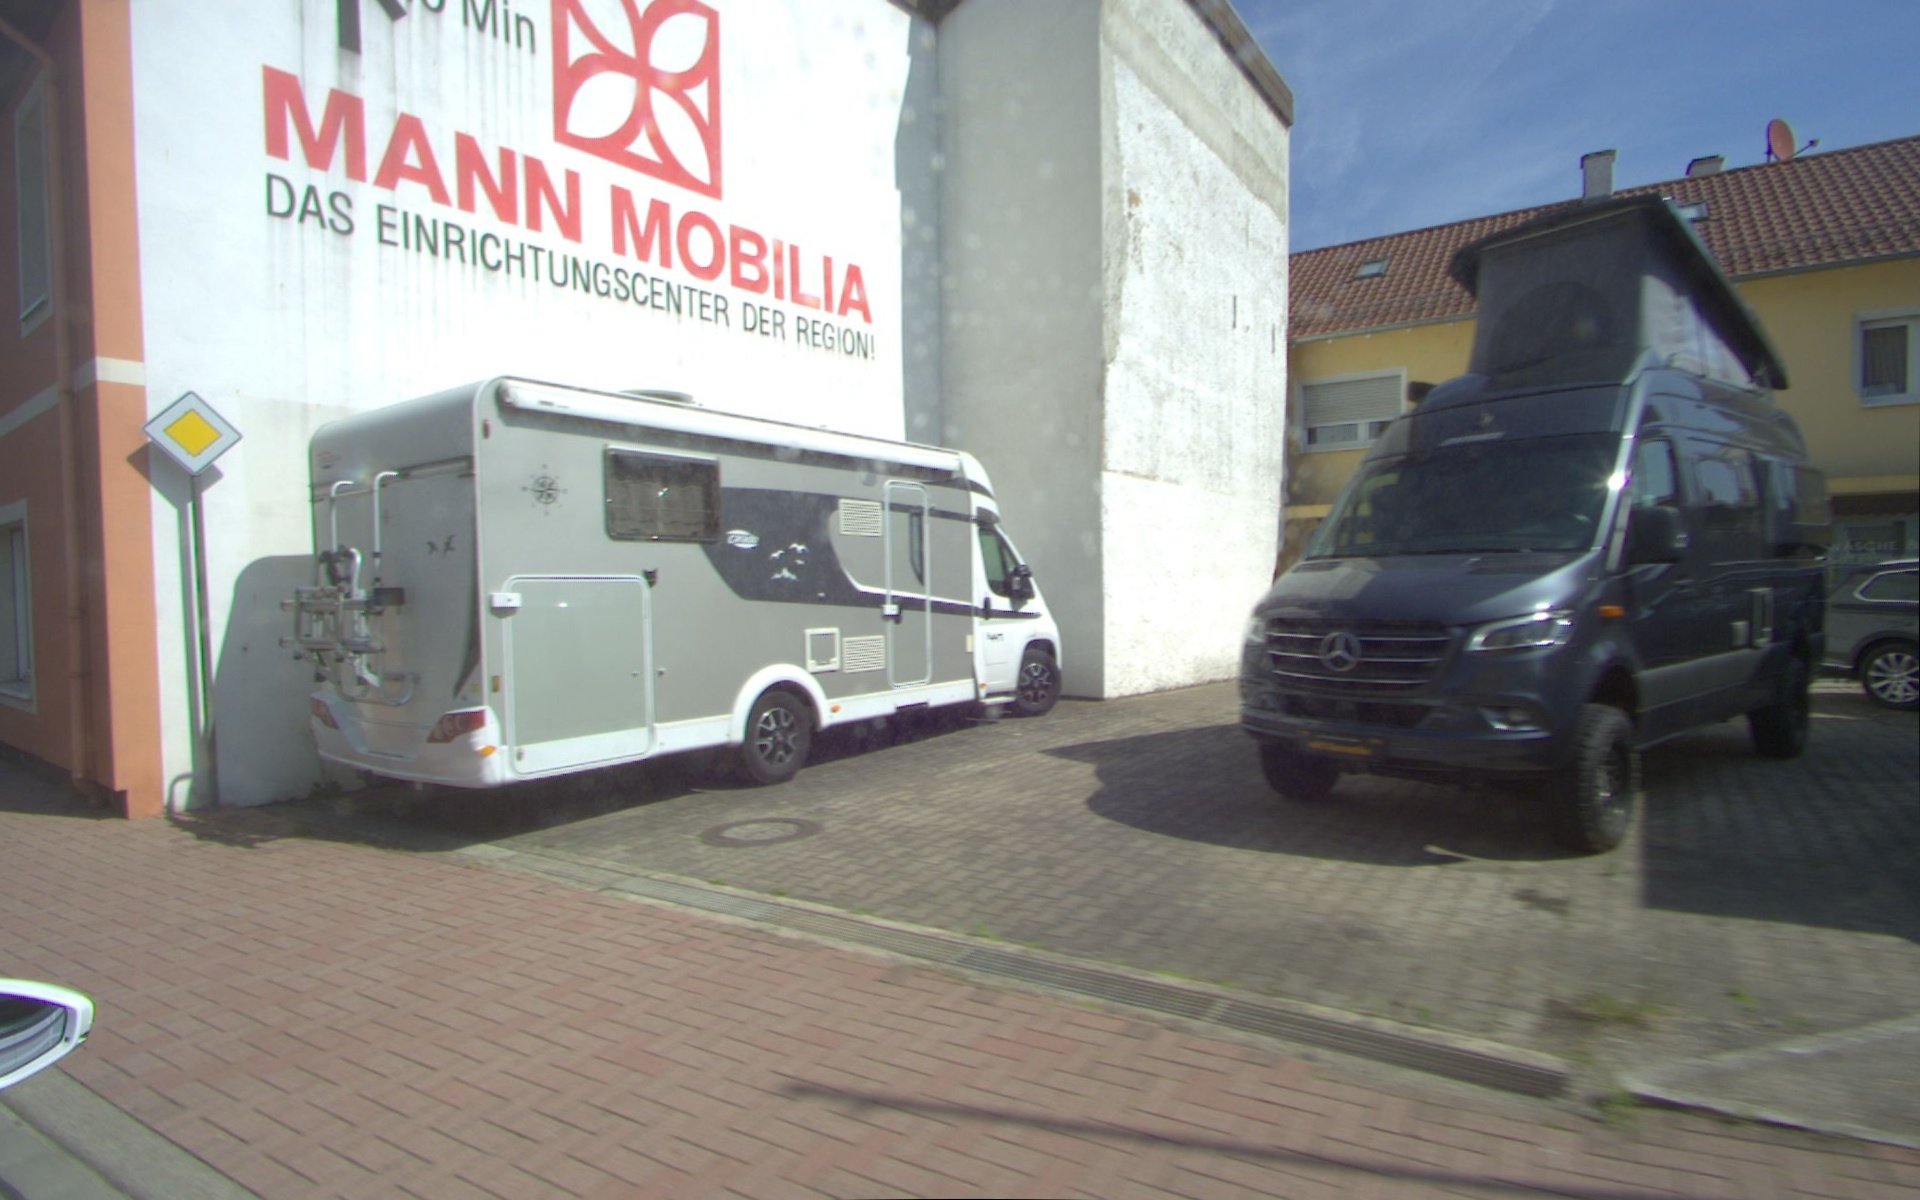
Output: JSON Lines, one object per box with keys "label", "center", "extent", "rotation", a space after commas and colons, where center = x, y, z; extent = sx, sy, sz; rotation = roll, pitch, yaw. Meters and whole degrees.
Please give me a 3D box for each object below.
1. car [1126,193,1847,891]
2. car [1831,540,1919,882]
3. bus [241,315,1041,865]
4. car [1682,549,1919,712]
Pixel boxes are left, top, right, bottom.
{"label": "car", "center": [4.051, -0.294, 7.085], "extent": [5.907, 3.027, 2.299], "rotation": [-2, 1, -38]}
{"label": "car", "center": [5.043, 0.493, 4.174], "extent": [1.560, 1.549, 3.790], "rotation": [0, 1, 32]}
{"label": "bus", "center": [-1.947, -0.099, 8.685], "extent": [2.200, 2.944, 6.543], "rotation": [-1, 1, 35]}
{"label": "car", "center": [9.836, 0.301, 10.130], "extent": [1.696, 1.545, 3.863], "rotation": [0, 0, -17]}
